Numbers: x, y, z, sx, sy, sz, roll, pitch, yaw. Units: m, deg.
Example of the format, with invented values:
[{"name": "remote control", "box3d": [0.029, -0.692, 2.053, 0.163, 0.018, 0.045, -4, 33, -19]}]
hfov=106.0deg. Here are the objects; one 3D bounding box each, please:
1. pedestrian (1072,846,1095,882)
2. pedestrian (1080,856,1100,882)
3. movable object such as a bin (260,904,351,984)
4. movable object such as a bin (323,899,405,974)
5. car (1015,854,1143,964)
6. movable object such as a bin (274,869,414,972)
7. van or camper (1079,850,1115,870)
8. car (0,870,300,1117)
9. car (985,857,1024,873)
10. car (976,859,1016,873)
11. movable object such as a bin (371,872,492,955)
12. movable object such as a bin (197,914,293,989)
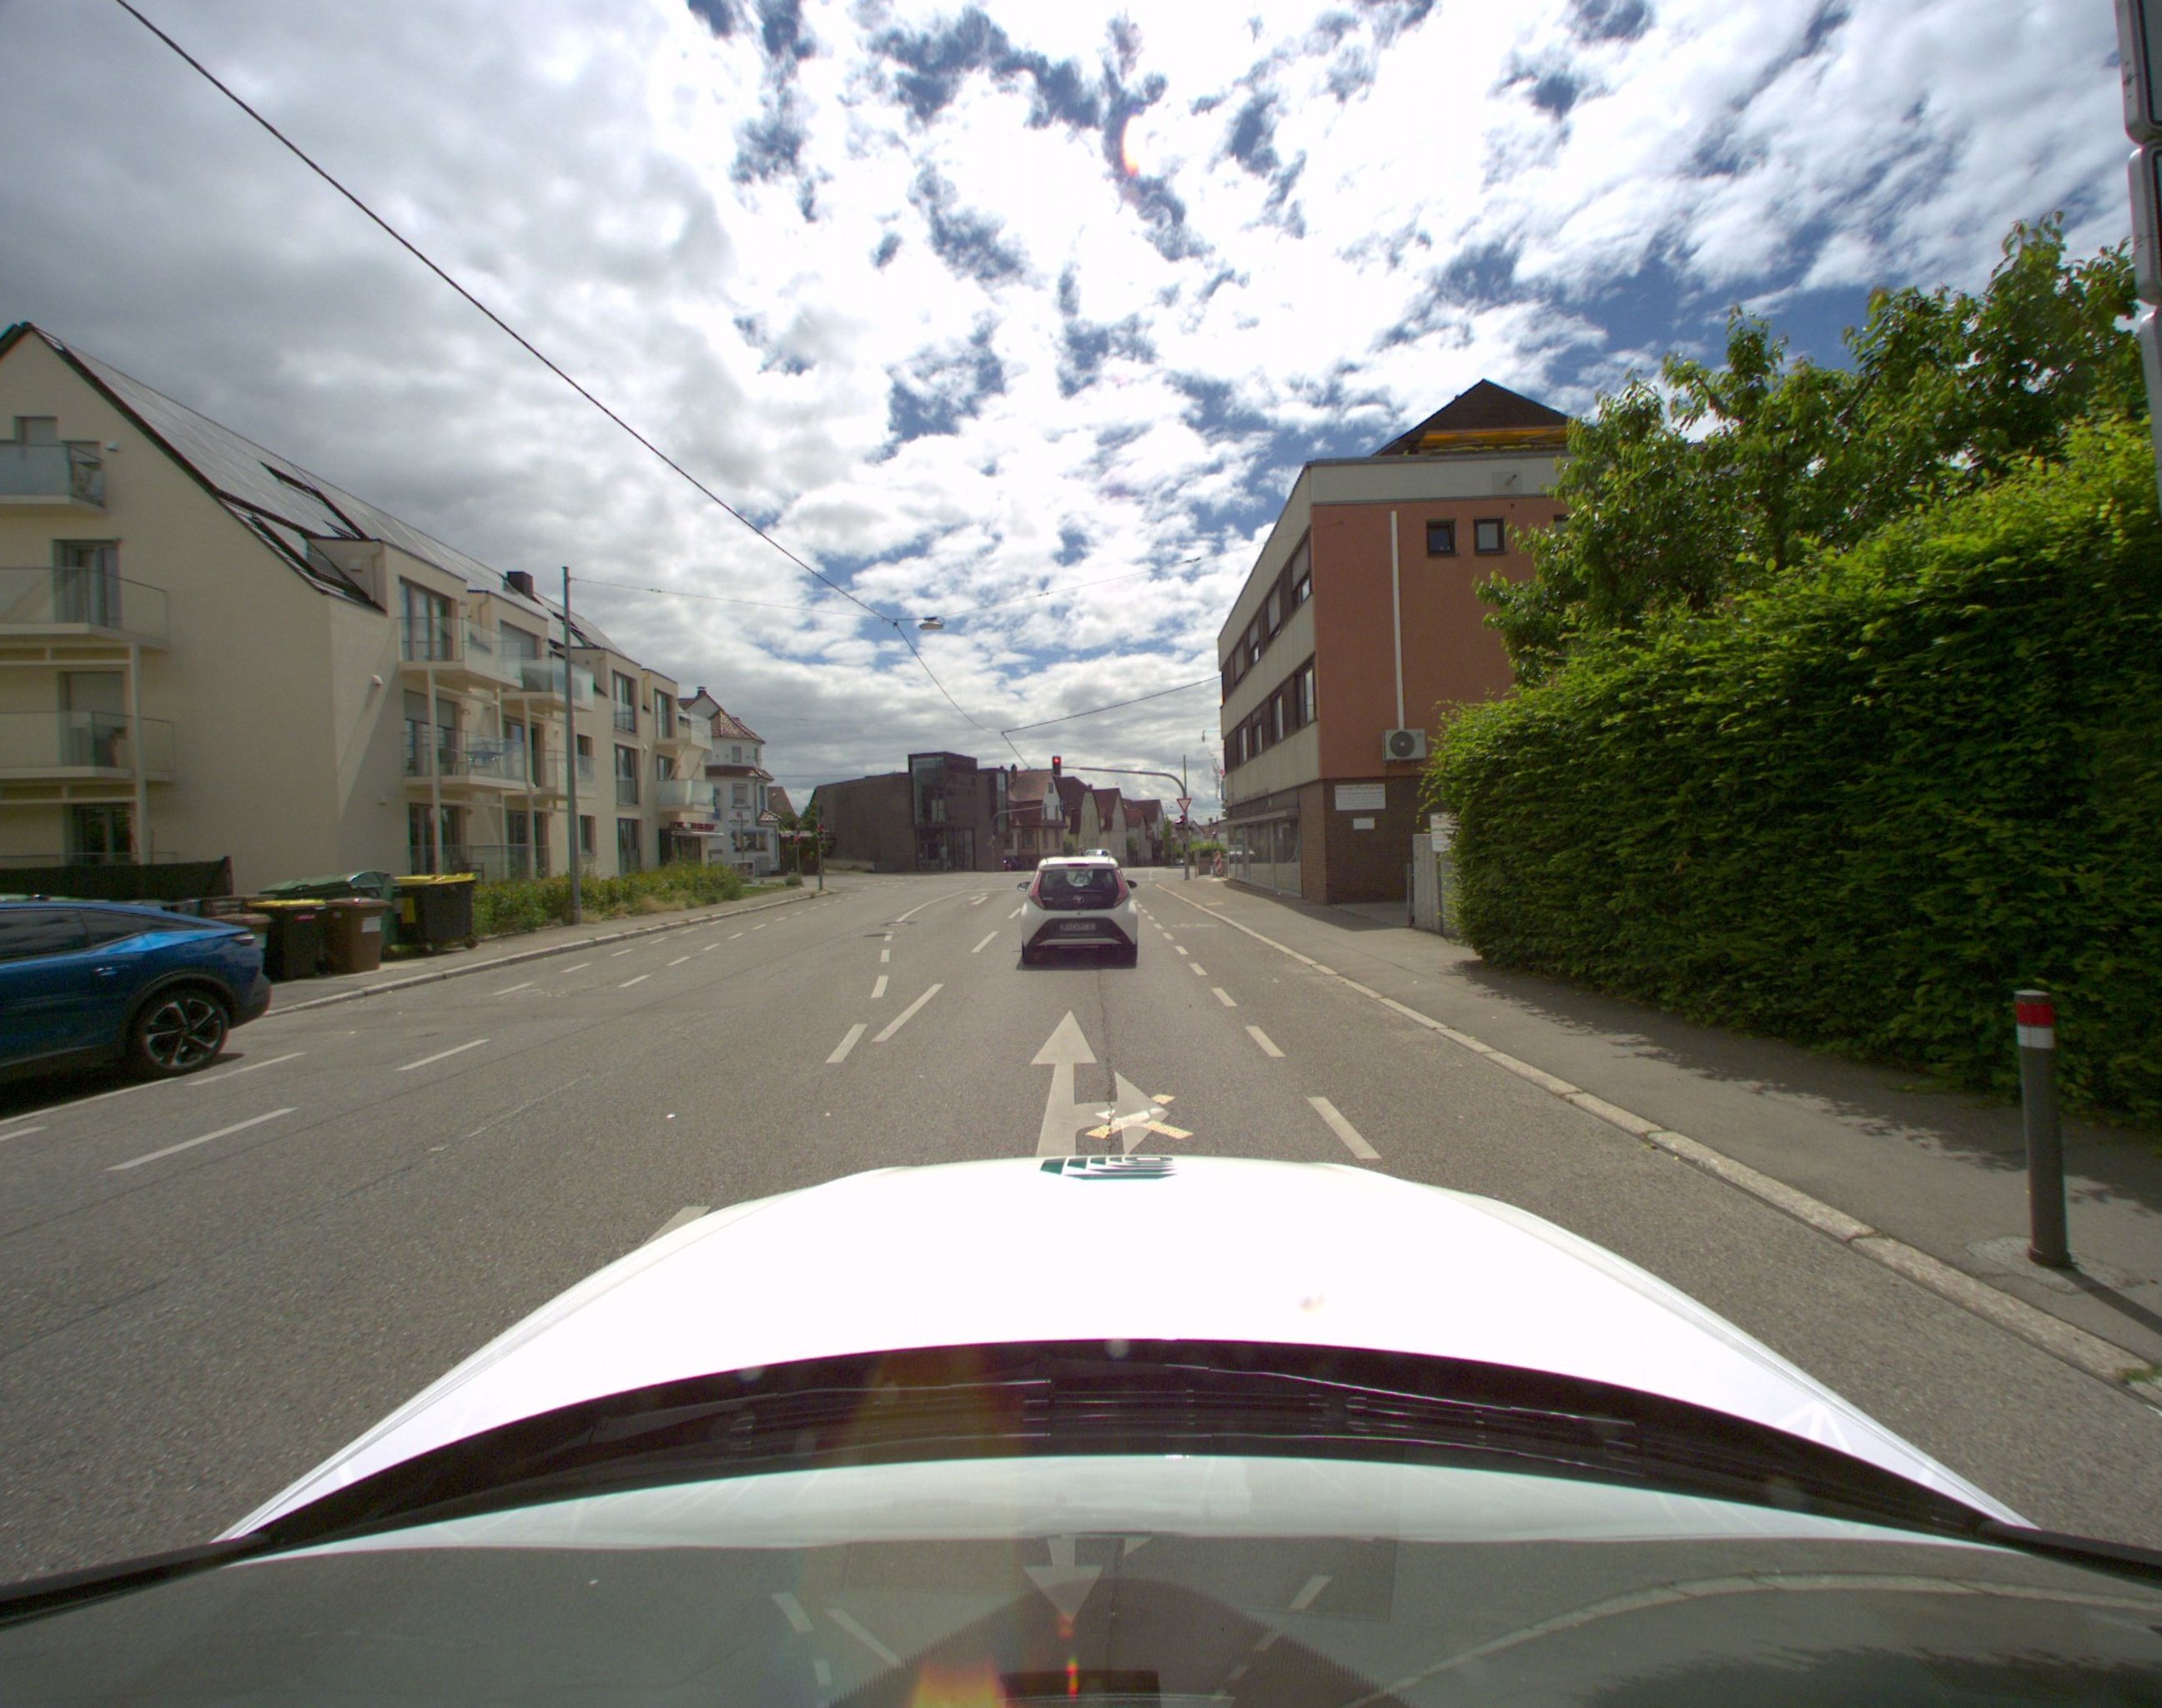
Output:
[{"name": "pedestrian", "box3d": [0.121, 0.480, 39.249, 0.825, 1.721, 0.812, -1, 0, -20]}, {"name": "pedestrian", "box3d": [0.423, 0.708, 38.579, 0.736, 1.221, 0.641, -1, 0, -22]}, {"name": "movable object such as a bin", "box3d": [-10.750, 1.231, 11.306, 0.593, 1.024, 0.659, -2, 0, 1]}, {"name": "movable object such as a bin", "box3d": [-10.524, 1.197, 11.974, 0.593, 1.007, 0.659, -2, 0, 1]}, {"name": "car", "box3d": [-0.039, 0.730, 12.439, 1.692, 1.456, 3.298, 0, 0, -1]}, {"name": "movable object such as a bin", "box3d": [-11.569, 1.007, 12.846, 1.062, 1.482, 1.214, -2, 0, -1]}, {"name": "van or camper", "box3d": [1.578, 0.557, 78.060, 2.099, 1.926, 5.308, 0, 0, 16]}, {"name": "car", "box3d": [-8.146, 0.973, 5.173, 1.987, 1.587, 4.488, -2, 0, 0]}, {"name": "car", "box3d": [-7.846, 1.078, 83.257, 3.590, 1.605, 1.697, 0, 0, 12]}, {"name": "car", "box3d": [-8.457, 1.167, 81.164, 3.590, 1.419, 1.697, 0, 0, 12]}, {"name": "movable object such as a bin", "box3d": [-11.191, 0.997, 14.090, 1.061, 1.313, 1.215, -2, 0, 2]}, {"name": "movable object such as a bin", "box3d": [-10.913, 1.262, 10.652, 0.593, 0.879, 0.614, -2, 0, 1]}]
